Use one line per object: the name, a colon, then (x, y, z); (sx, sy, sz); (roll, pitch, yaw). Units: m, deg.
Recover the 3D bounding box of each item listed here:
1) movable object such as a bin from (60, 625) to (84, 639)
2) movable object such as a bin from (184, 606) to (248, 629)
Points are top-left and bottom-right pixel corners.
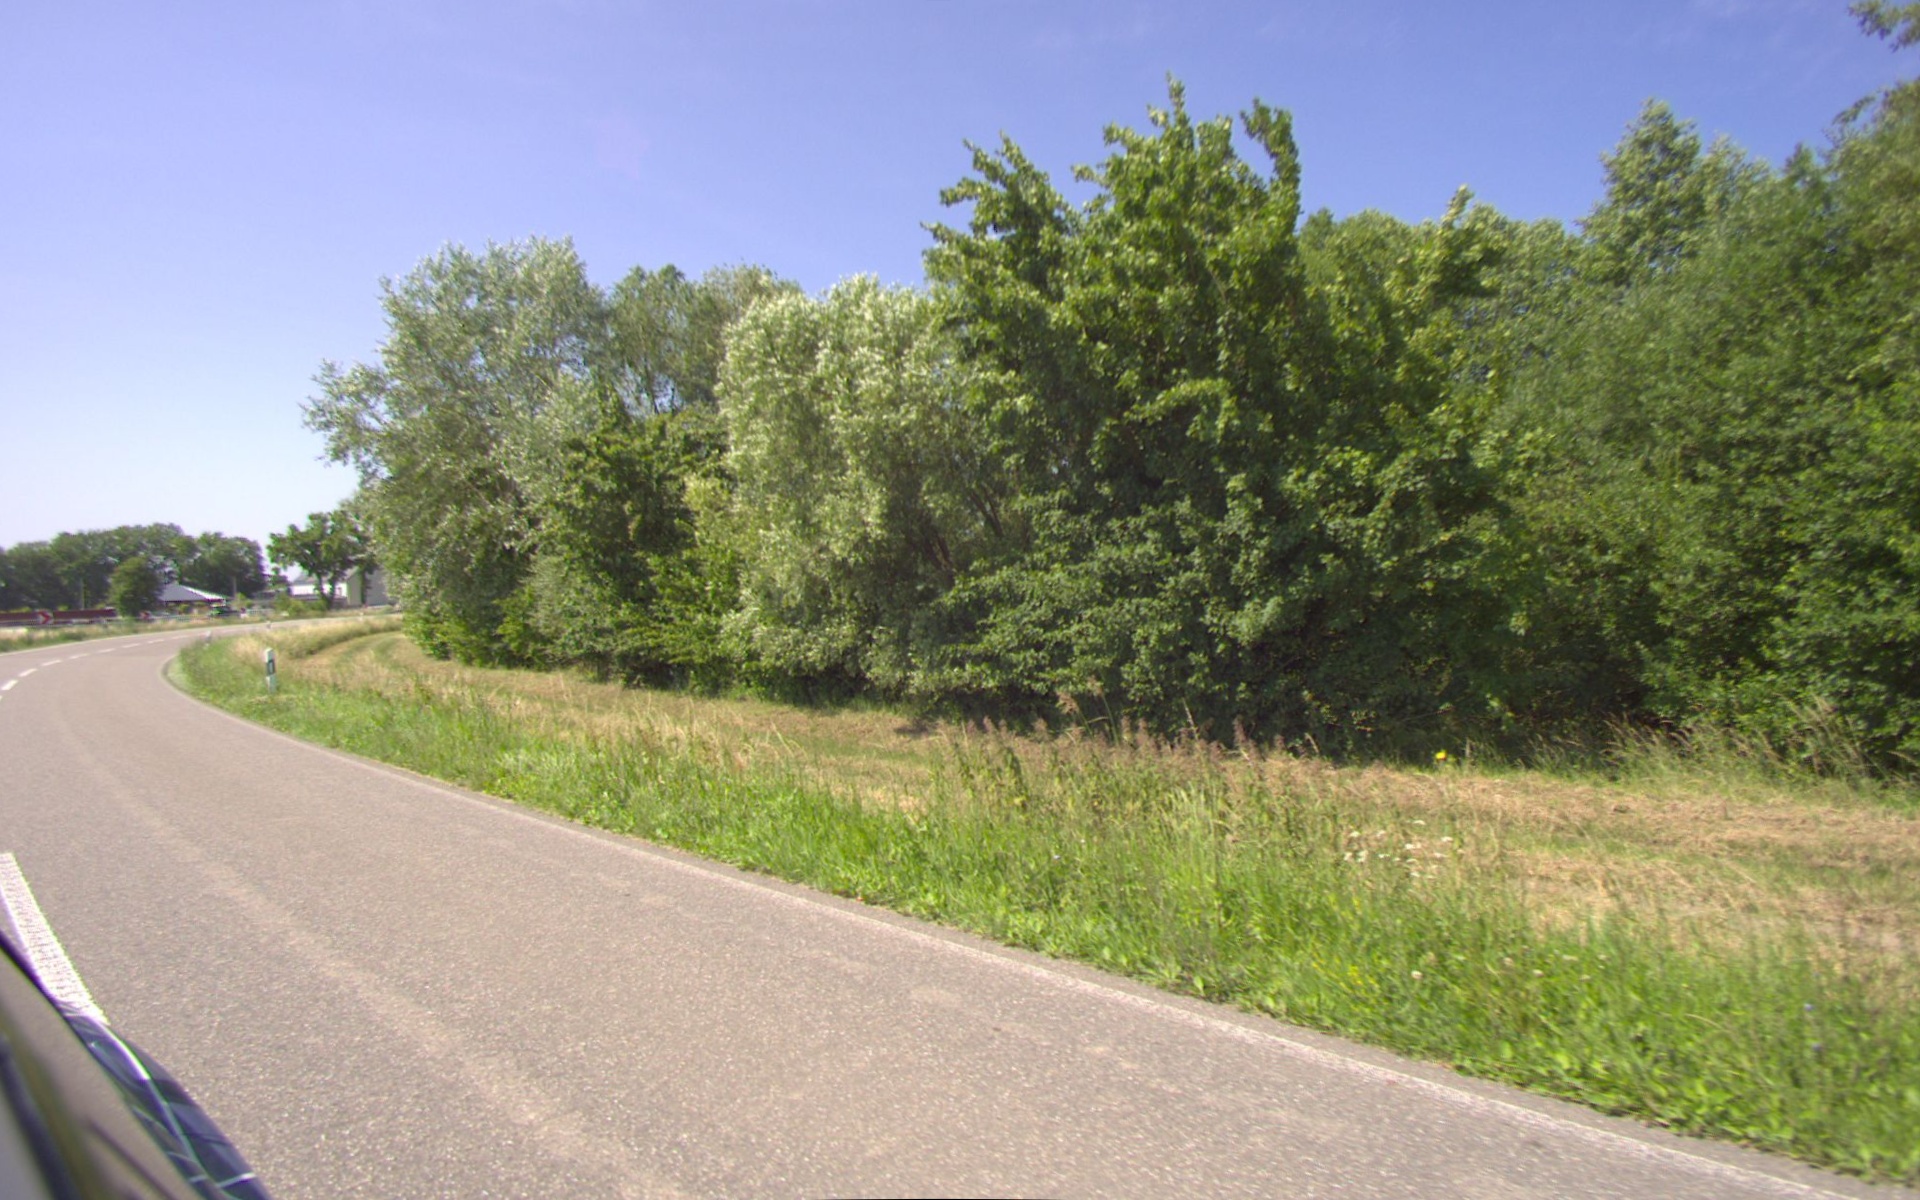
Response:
movable object such as a bin: (-95.577, 3.475, 108.880); (1.366, 1.359, 1.504); (-2, 1, 26)
movable object such as a bin: (-103.405, 2.425, 140.728); (2.992, 2.790, 6.457); (-3, 0, 22)
